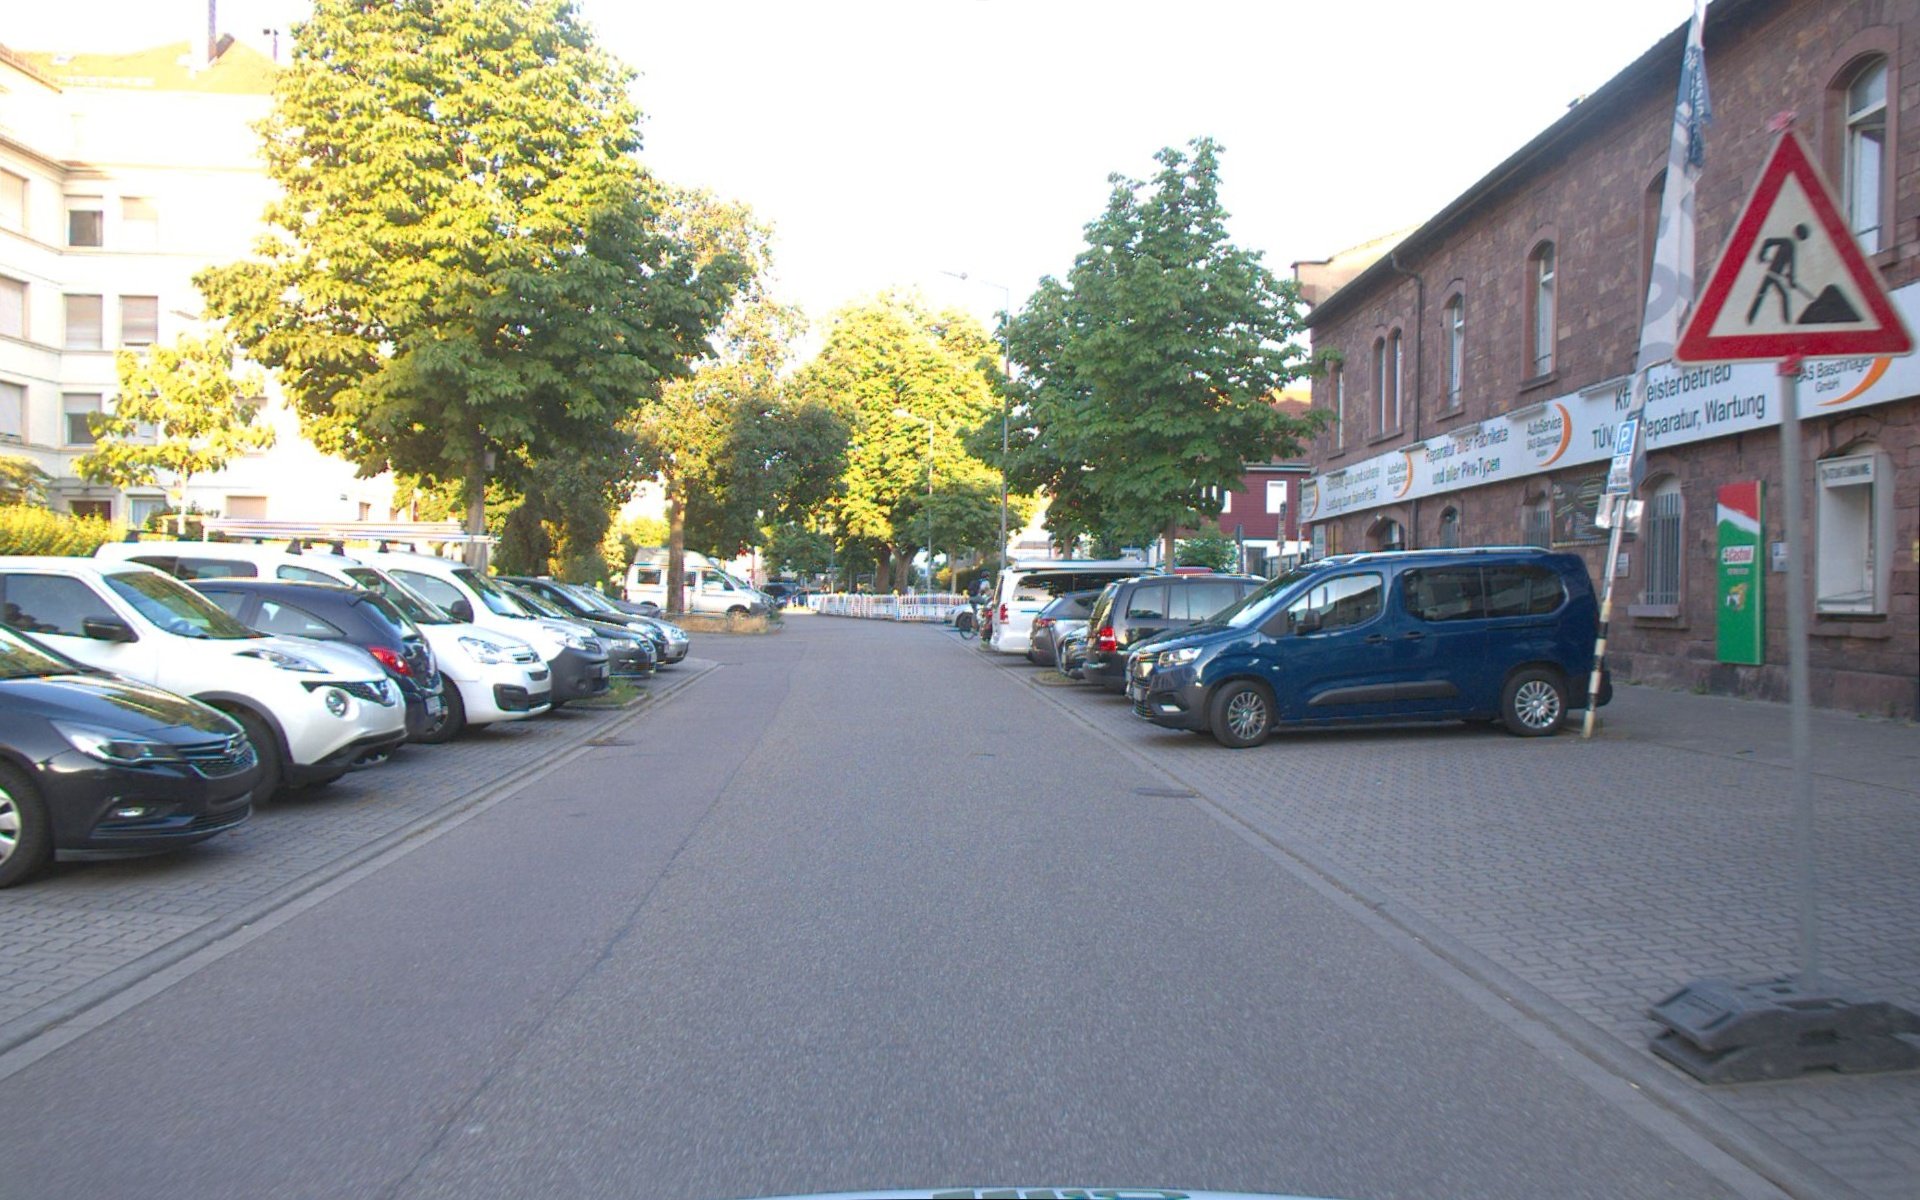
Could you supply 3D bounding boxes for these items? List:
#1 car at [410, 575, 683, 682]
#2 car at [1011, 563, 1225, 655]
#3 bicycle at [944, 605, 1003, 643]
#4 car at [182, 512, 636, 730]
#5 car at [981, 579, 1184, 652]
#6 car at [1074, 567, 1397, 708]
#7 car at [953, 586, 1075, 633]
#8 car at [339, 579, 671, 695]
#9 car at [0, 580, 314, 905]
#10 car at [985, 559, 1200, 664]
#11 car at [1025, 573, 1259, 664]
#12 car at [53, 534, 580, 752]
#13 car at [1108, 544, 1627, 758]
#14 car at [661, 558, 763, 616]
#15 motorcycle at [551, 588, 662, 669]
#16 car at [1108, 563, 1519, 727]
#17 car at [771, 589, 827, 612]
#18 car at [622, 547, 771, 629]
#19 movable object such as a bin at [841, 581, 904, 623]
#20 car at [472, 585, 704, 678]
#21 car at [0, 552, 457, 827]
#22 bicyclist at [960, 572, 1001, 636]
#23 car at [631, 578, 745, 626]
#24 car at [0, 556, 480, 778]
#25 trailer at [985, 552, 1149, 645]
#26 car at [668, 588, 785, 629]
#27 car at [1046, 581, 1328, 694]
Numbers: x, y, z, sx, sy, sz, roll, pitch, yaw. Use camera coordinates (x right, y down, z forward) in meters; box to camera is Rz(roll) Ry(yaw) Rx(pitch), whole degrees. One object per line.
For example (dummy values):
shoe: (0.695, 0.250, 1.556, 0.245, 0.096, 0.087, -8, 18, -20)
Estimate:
car: (-6.534, 0.440, 26.448, 3.906, 1.611, 1.728, 1, 0, -1)
car: (3.256, 0.180, 34.550, 4.215, 1.831, 1.903, 1, 0, -3)
bicycle: (0.376, 0.669, 46.145, 1.846, 1.015, 0.369, 1, 0, -40)
car: (-6.178, 0.208, 18.948, 4.420, 2.106, 2.000, 3, 1, 1)
car: (2.688, 0.339, 36.895, 4.339, 1.525, 1.772, 1, 0, -3)
car: (3.620, 0.477, 22.210, 3.908, 1.647, 1.893, -2, 0, -4)
car: (1.827, 0.291, 55.129, 3.902, 1.514, 1.815, 0, 0, 7)
car: (-6.489, 0.515, 23.929, 4.238, 1.430, 1.851, 2, 0, -1)
car: (-5.928, 0.603, 8.646, 4.321, 1.477, 1.826, 3, 0, -4)
car: (2.513, 0.224, 32.096, 3.908, 1.937, 1.999, 1, 0, -4)
car: (3.175, 0.319, 29.354, 3.907, 1.536, 1.775, 1, 0, -3)
car: (-6.140, 0.389, 16.186, 4.331, 1.833, 1.943, 2, 0, 0)
car: (4.012, 0.456, 16.814, 4.692, 1.784, 2.016, -3, 1, -3)
car: (-11.120, -0.574, 74.012, 4.420, 2.473, 1.995, 1, 0, -10)
motorcycle: (-6.538, 0.520, 30.664, 1.948, 1.461, 0.720, 1, 0, -8)
car: (4.076, 0.482, 19.554, 4.328, 1.602, 1.980, -3, 1, -4)
car: (-12.245, 0.028, 125.741, 3.933, 1.680, 1.752, 1, 0, -23)
car: (-8.715, -0.401, 55.034, 4.636, 2.614, 1.999, 1, 0, -2)
movable object such as a bin: (-5.298, 0.099, 99.616, 2.587, 2.445, 5.172, 1, 0, -17)
car: (-6.421, 0.535, 28.799, 3.638, 1.532, 1.689, 1, 0, -1)
car: (-5.825, 0.526, 11.326, 4.158, 1.649, 1.812, 2, 0, -2)
bicyclist: (0.569, 0.115, 46.275, 0.831, 1.756, 0.790, 1, 0, -38)
car: (-11.319, 0.082, 68.900, 4.589, 1.906, 1.995, 1, 0, -11)
car: (-6.264, 0.517, 13.885, 3.908, 1.510, 1.754, 4, 0, -4)
trailer: (2.639, -0.043, 41.471, 3.907, 2.226, 1.999, 1, 0, -3)
car: (-8.604, 0.300, 61.313, 4.161, 1.418, 1.683, 1, 0, -5)
car: (3.341, 0.542, 24.756, 3.870, 1.592, 1.818, 1, 0, -7)
